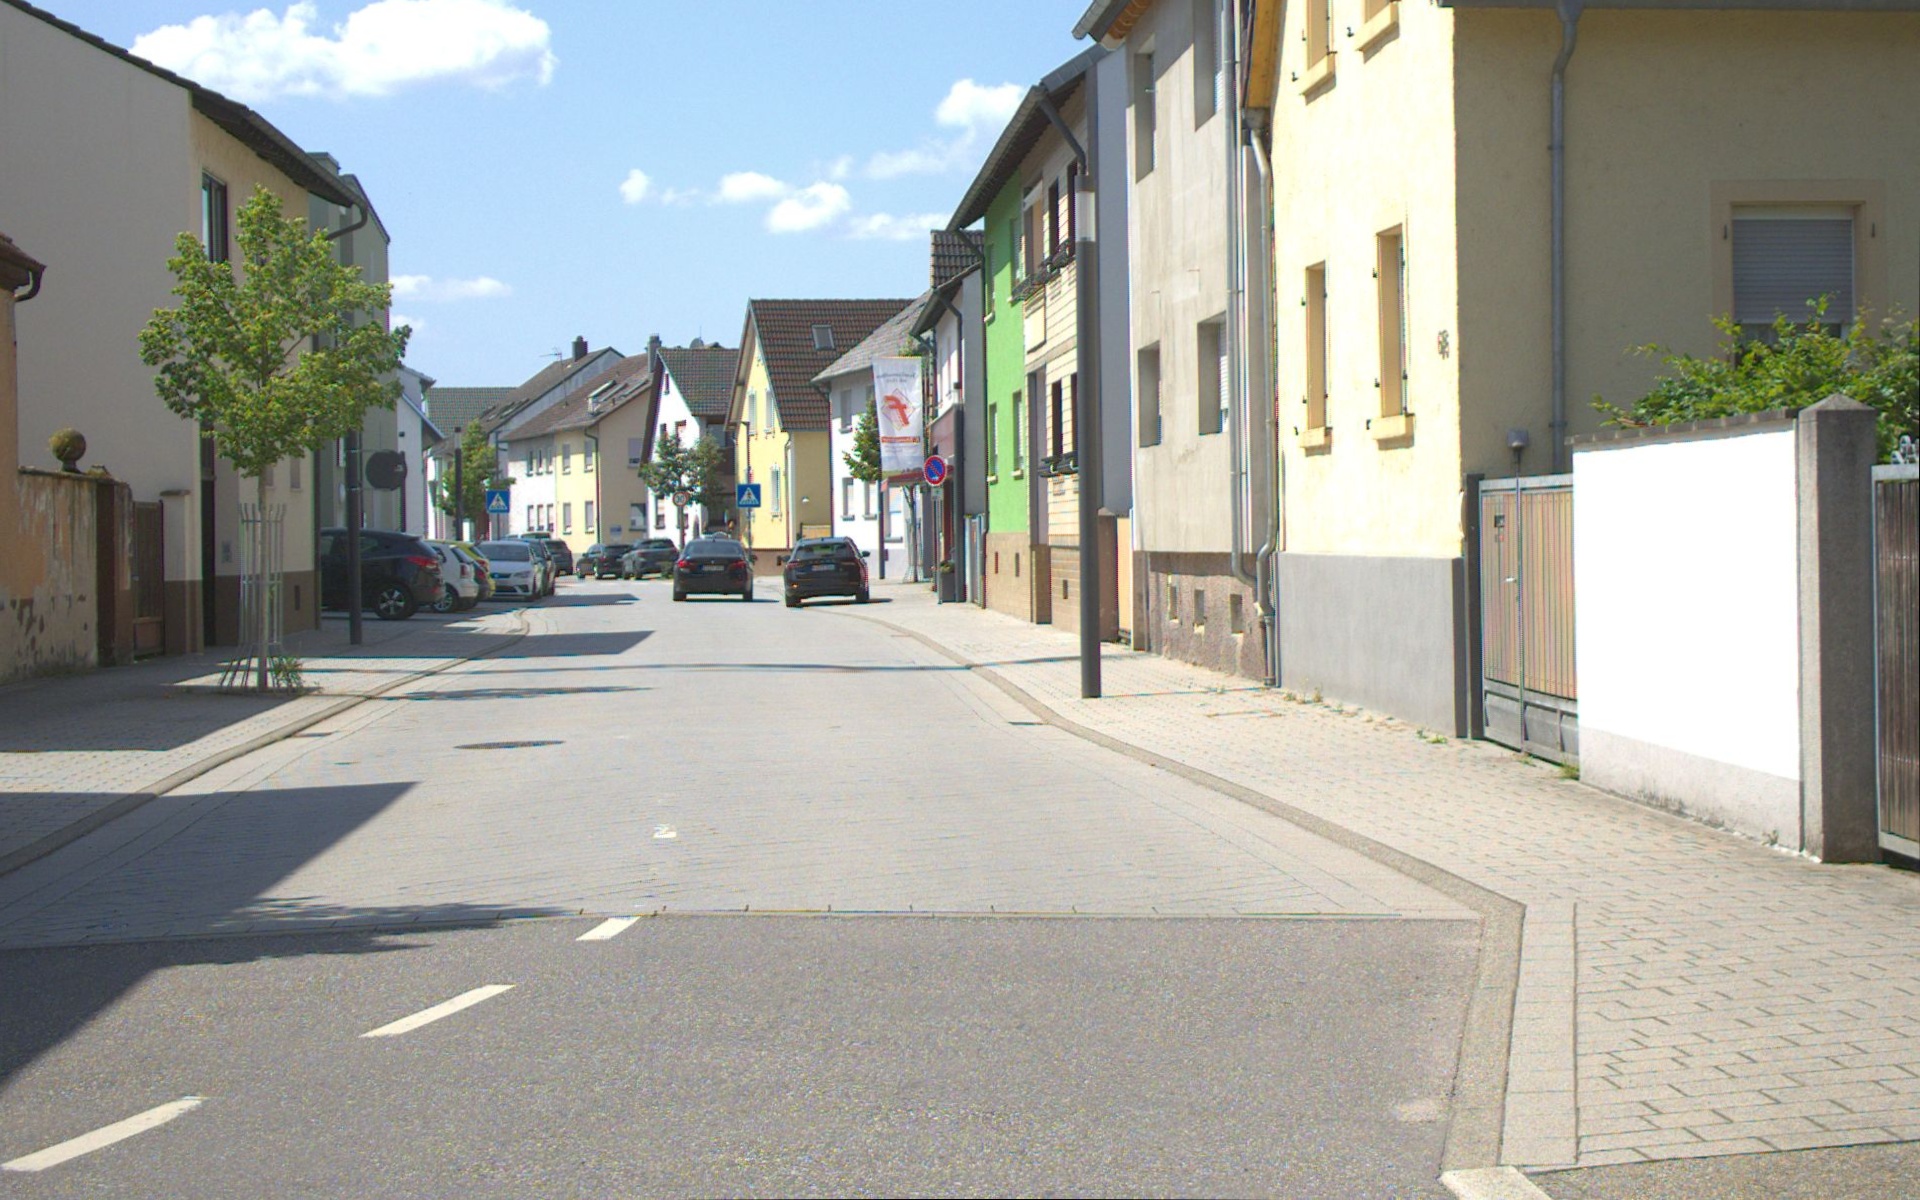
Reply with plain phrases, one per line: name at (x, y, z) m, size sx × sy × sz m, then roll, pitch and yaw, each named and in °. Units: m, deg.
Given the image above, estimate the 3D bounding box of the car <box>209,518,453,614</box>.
car at (-11.526, -0.639, 63.191) m, size 4.218 × 1.652 × 1.785 m, roll 1°, pitch 1°, yaw -4°

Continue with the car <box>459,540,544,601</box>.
car at (-11.235, -0.746, 84.478) m, size 1.757 × 1.406 × 3.878 m, roll 1°, pitch 1°, yaw -3°

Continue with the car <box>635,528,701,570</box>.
car at (-11.212, -1.958, 132.017) m, size 1.846 × 1.557 × 3.695 m, roll -2°, pitch 1°, yaw -15°

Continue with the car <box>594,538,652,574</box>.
car at (-13.691, -1.804, 139.615) m, size 1.710 × 1.382 × 3.707 m, roll -2°, pitch 1°, yaw -15°

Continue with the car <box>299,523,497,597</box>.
car at (-11.991, -0.866, 73.495) m, size 3.986 × 1.437 × 1.691 m, roll 2°, pitch 1°, yaw -3°

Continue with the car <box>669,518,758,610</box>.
car at (-5.791, -0.876, 80.829) m, size 1.993 × 2.050 × 4.375 m, roll -1°, pitch 1°, yaw -4°

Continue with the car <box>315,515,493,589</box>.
car at (-12.327, -1.074, 76.373) m, size 3.691 × 1.520 × 1.673 m, roll 1°, pitch 1°, yaw -2°

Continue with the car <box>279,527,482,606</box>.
car at (-11.918, -0.703, 70.847) m, size 3.900 × 1.497 × 1.751 m, roll 2°, pitch 1°, yaw -2°

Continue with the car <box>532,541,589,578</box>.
car at (-17.759, -1.801, 152.756) m, size 1.877 × 1.585 × 4.001 m, roll -2°, pitch 1°, yaw -15°

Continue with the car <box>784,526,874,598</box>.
car at (-2.872, -0.861, 75.835) m, size 1.858 × 1.454 × 4.586 m, roll -3°, pitch 1°, yaw -2°
